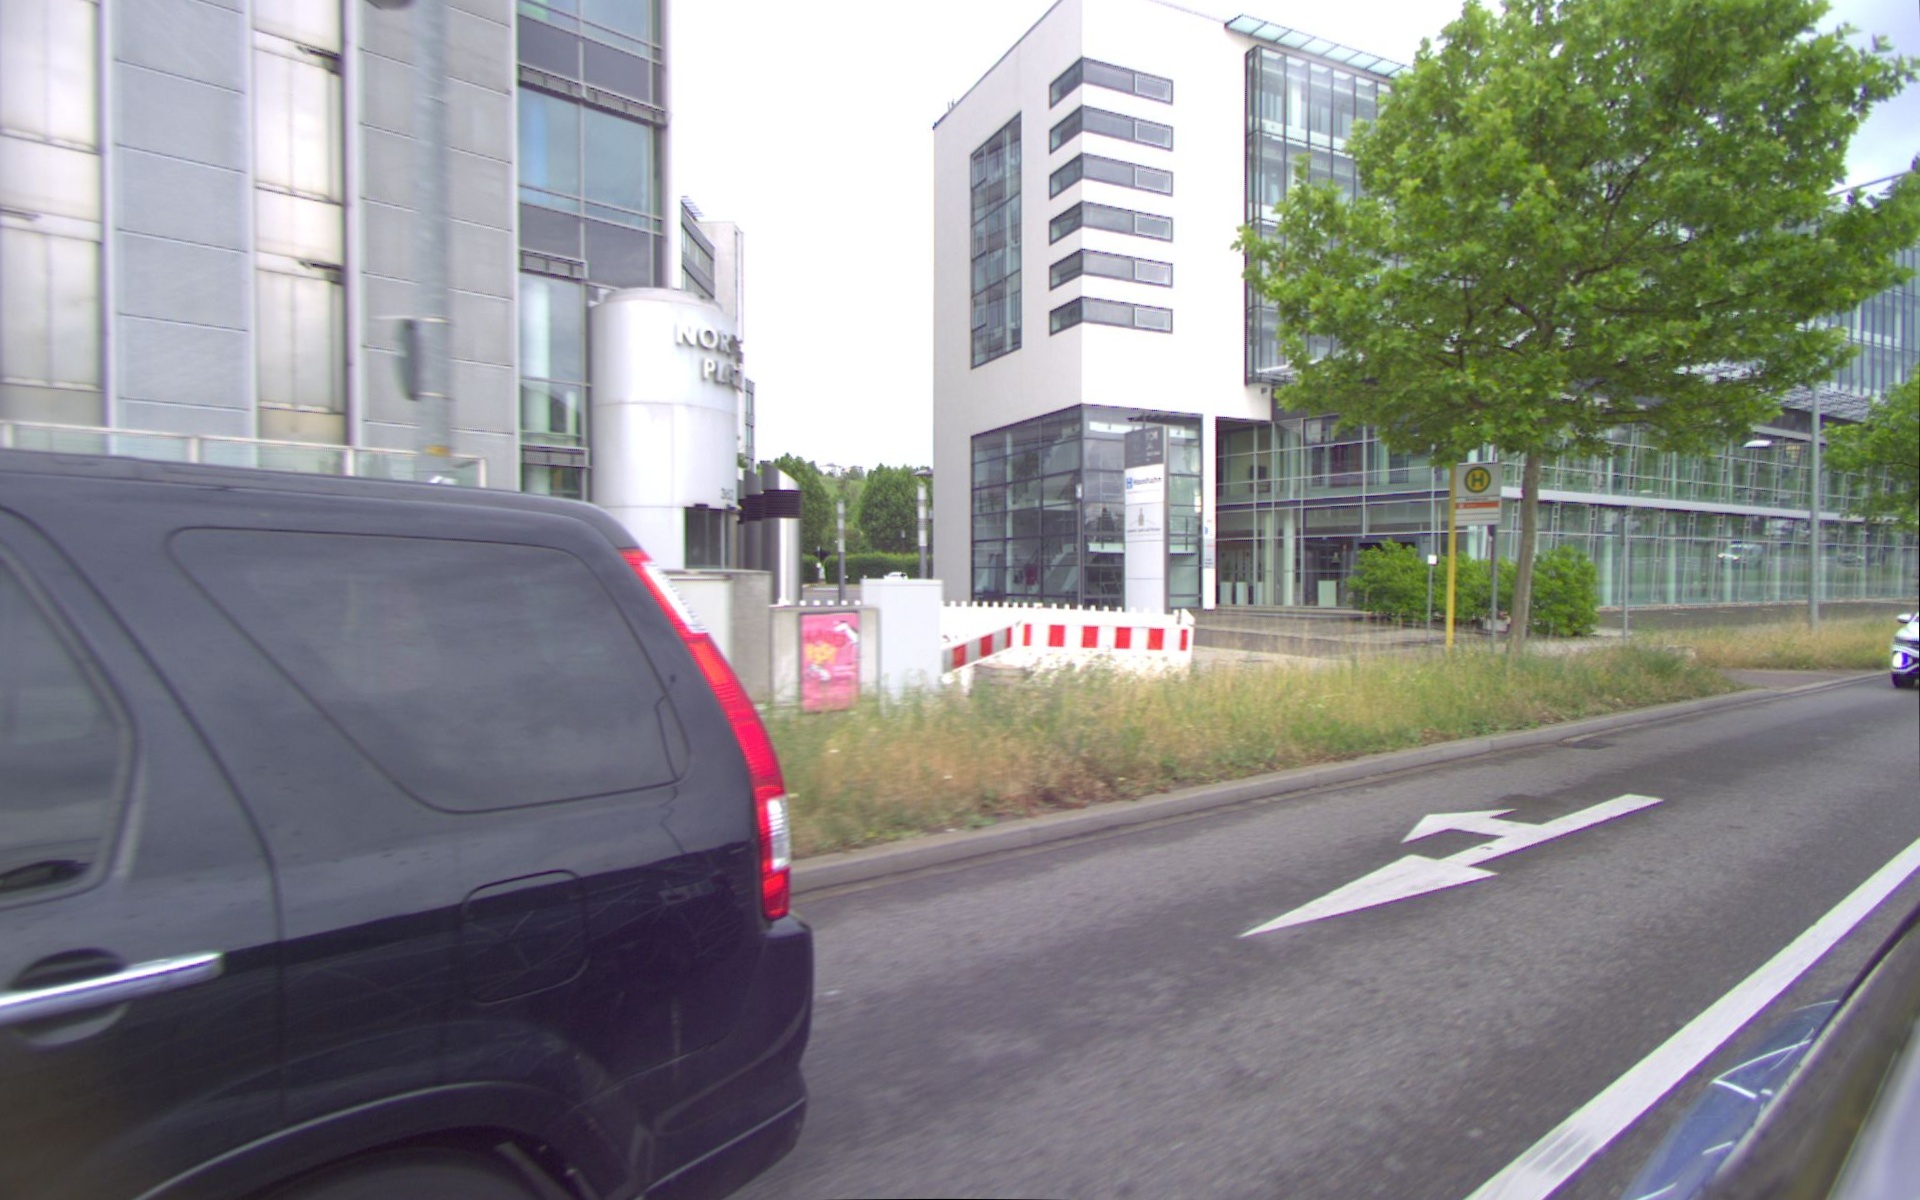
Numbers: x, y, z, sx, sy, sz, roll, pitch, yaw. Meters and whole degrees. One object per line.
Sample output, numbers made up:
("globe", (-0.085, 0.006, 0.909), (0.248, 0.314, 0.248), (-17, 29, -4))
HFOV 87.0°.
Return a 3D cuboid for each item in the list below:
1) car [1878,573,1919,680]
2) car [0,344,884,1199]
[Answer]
("car", (16.946, 0.391, 16.638), (3.750, 1.700, 1.999), (-1, 0, -36))
("car", (-2.319, 0.585, 1.131), (4.250, 1.651, 1.768), (-1, -1, -42))
